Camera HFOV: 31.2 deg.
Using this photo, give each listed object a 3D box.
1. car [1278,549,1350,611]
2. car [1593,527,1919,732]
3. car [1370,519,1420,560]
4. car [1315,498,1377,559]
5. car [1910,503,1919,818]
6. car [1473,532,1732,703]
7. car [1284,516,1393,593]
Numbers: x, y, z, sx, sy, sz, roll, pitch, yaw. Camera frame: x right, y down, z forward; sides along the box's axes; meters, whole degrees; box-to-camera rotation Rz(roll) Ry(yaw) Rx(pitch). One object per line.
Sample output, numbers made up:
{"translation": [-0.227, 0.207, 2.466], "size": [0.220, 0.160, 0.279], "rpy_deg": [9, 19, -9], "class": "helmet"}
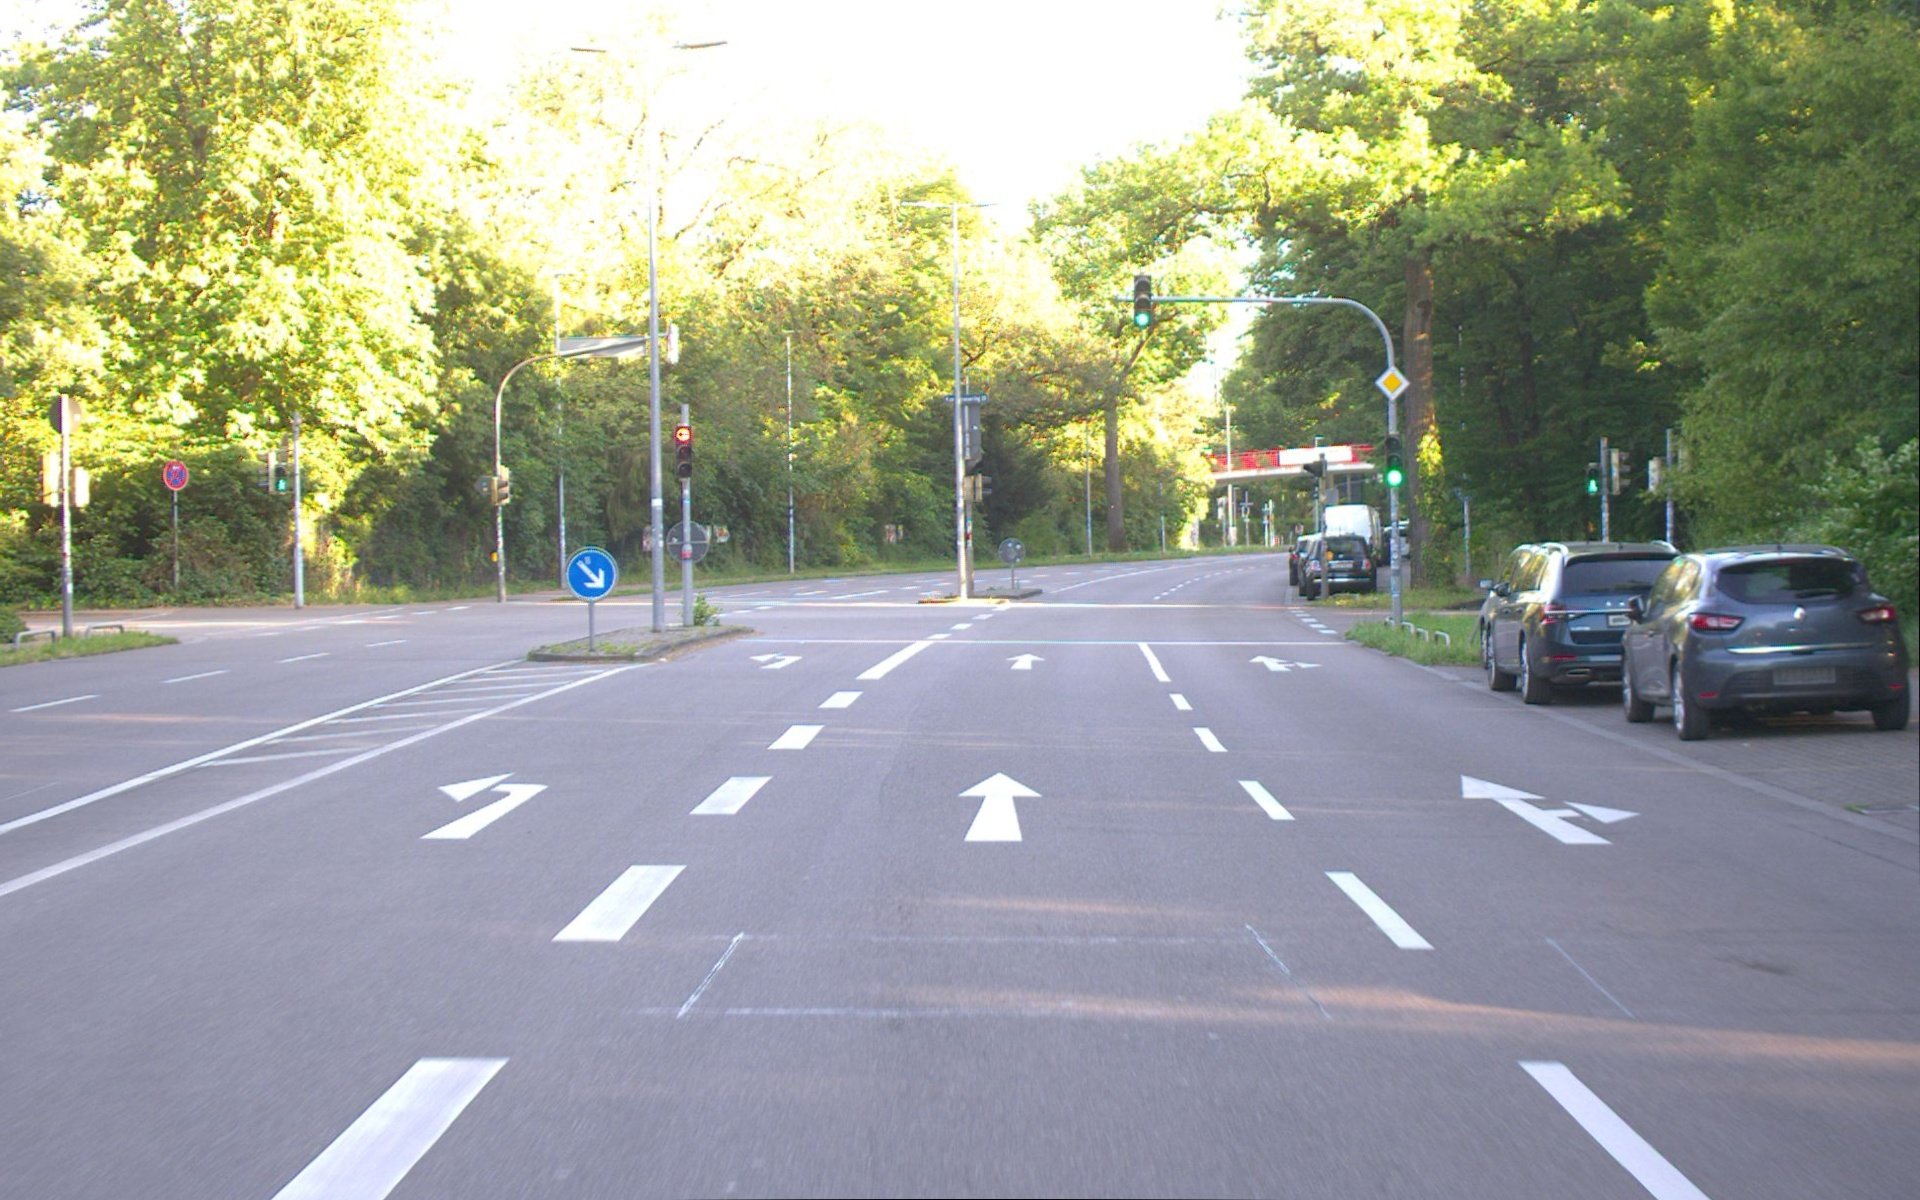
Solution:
{"translation": [10.451, -0.610, 101.718], "size": [1.994, 1.612, 4.000], "rpy_deg": [-3, 1, 5], "class": "car"}
{"translation": [6.262, 0.177, 27.425], "size": [1.728, 1.485, 4.090], "rpy_deg": [-1, 1, 1], "class": "car"}
{"translation": [20.333, -2.821, 160.841], "size": [1.993, 1.897, 4.000], "rpy_deg": [0, 1, 2], "class": "car"}
{"translation": [15.140, -2.807, 135.097], "size": [2.308, 2.328, 4.559], "rpy_deg": [0, 1, 5], "class": "car"}
{"translation": [6.033, 0.356, 16.663], "size": [1.727, 1.698, 4.090], "rpy_deg": [0, 1, 0], "class": "car"}
{"translation": [6.056, 0.116, 32.841], "size": [1.728, 1.456, 4.167], "rpy_deg": [-2, 1, 1], "class": "car"}
{"translation": [8.787, -1.069, 80.052], "size": [1.993, 1.612, 4.000], "rpy_deg": [-4, 1, 0], "class": "car"}
